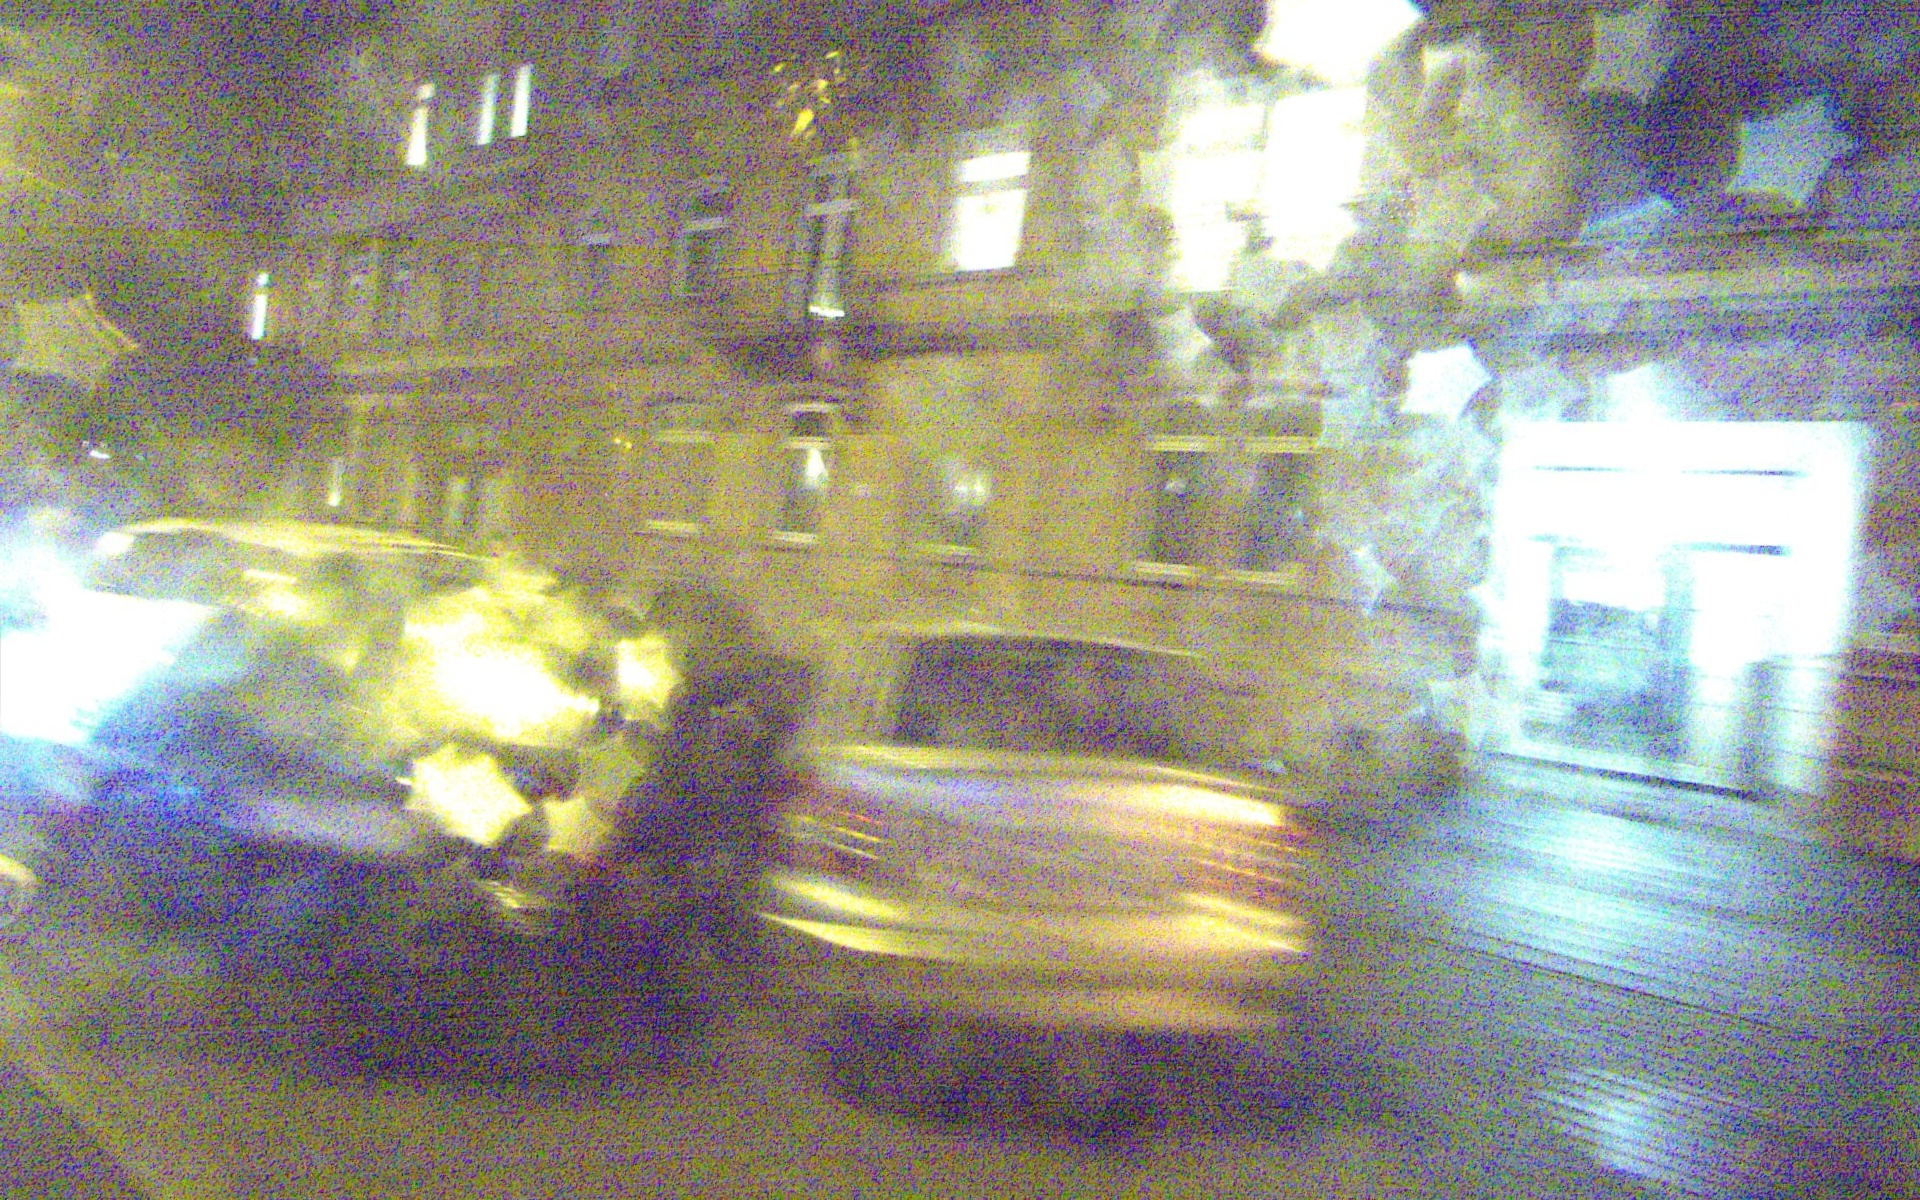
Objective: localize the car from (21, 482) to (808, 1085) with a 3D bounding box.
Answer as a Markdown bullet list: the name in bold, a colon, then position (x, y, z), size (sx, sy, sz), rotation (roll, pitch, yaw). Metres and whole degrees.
- **car**: position (-1.734, 0.489, 4.537), size (1.575, 1.479, 3.680), rotation (6, 1, -3)

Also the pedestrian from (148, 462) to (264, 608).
- **pedestrian**: position (-10.402, -0.886, 13.888), size (0.976, 1.880, 0.869), rotation (7, 3, 29)

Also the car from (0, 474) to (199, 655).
- **car**: position (-9.393, -0.409, 9.556), size (1.564, 1.601, 3.649), rotation (7, 2, -3)

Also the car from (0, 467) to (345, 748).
- **car**: position (-6.387, -0.042, 7.488), size (1.565, 1.600, 3.650), rotation (7, -1, -7)

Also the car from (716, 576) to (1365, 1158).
- **car**: position (0.141, 0.723, 4.768), size (1.657, 1.471, 3.996), rotation (6, 1, -3)

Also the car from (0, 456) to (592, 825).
- **car**: position (-4.057, 0.219, 6.635), size (1.562, 1.599, 3.655), rotation (7, -1, 4)
